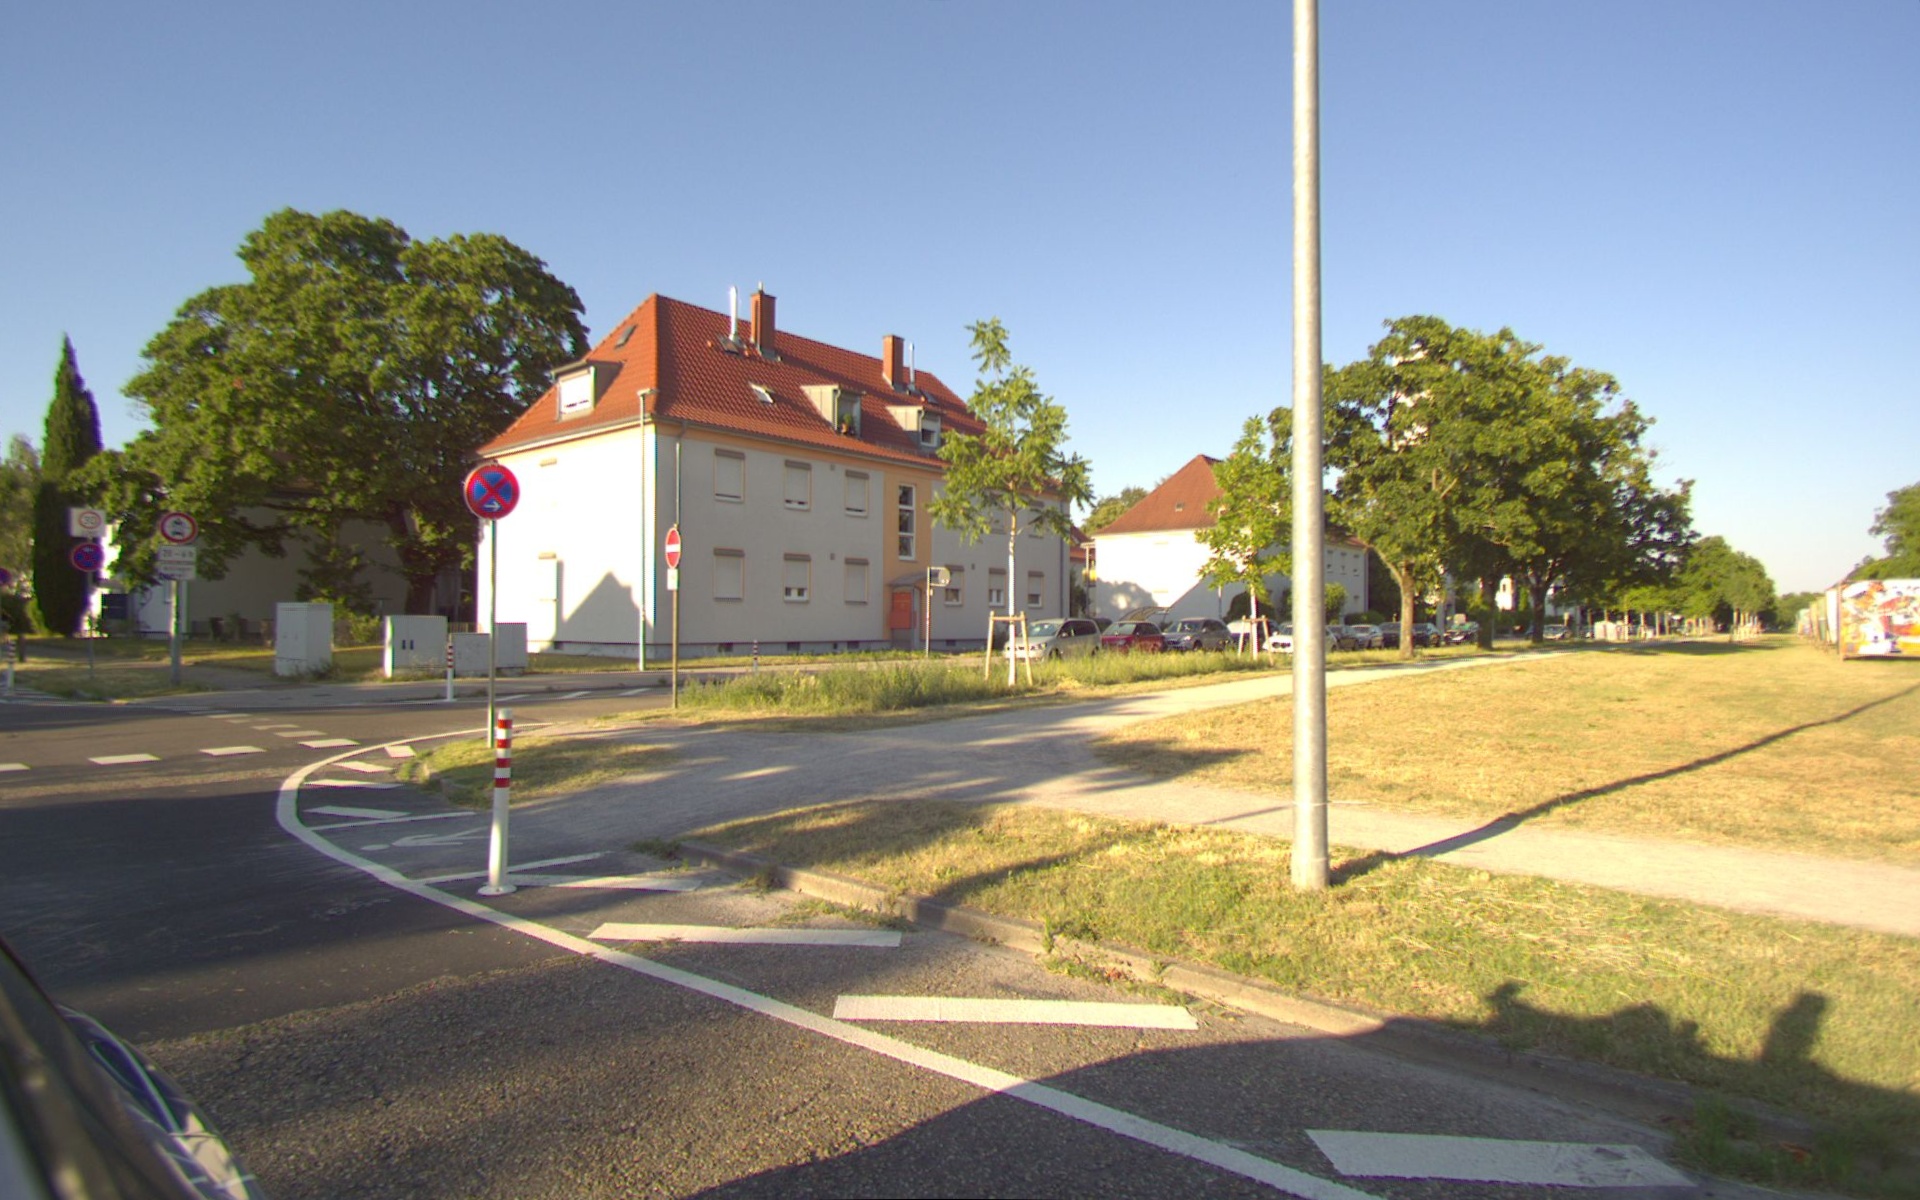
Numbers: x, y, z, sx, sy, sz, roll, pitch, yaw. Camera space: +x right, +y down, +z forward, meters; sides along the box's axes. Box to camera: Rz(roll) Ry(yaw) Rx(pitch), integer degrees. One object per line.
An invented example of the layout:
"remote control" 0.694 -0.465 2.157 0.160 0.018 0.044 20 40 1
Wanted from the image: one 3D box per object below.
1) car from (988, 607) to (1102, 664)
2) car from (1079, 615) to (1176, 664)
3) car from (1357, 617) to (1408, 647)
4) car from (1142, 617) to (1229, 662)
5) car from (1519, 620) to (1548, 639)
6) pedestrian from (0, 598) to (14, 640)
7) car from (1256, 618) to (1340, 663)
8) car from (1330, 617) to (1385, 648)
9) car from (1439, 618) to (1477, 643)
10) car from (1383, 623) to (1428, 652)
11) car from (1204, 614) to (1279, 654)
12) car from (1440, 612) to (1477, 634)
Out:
"car" 2.815 1.136 32.859 1.848 1.708 3.949 -3 -3 38
"car" 6.218 1.441 37.263 1.848 1.708 3.949 -3 -3 38
"car" 25.685 1.939 61.418 1.848 1.708 3.949 -3 -3 38
"car" 9.065 1.551 40.528 1.848 1.708 3.949 -3 -3 38
"car" 54.573 2.816 96.264 1.848 1.708 3.949 -3 -3 38
"pedestrian" -47.218 0.928 49.787 0.692 2.029 0.887 -1 -1 39
"car" 13.596 1.599 40.545 1.868 1.708 4.246 -3 -3 38
"car" 22.623 1.842 57.570 1.848 1.708 3.949 -3 -3 38
"car" 36.314 2.230 73.780 1.805 1.730 3.301 1 0 39
"car" 28.758 2.408 65.265 1.805 1.730 3.301 1 0 39
"car" 12.572 1.491 45.076 1.848 1.708 3.949 -3 -3 38
"car" 40.678 1.866 82.555 1.848 1.708 3.949 -3 -3 38
